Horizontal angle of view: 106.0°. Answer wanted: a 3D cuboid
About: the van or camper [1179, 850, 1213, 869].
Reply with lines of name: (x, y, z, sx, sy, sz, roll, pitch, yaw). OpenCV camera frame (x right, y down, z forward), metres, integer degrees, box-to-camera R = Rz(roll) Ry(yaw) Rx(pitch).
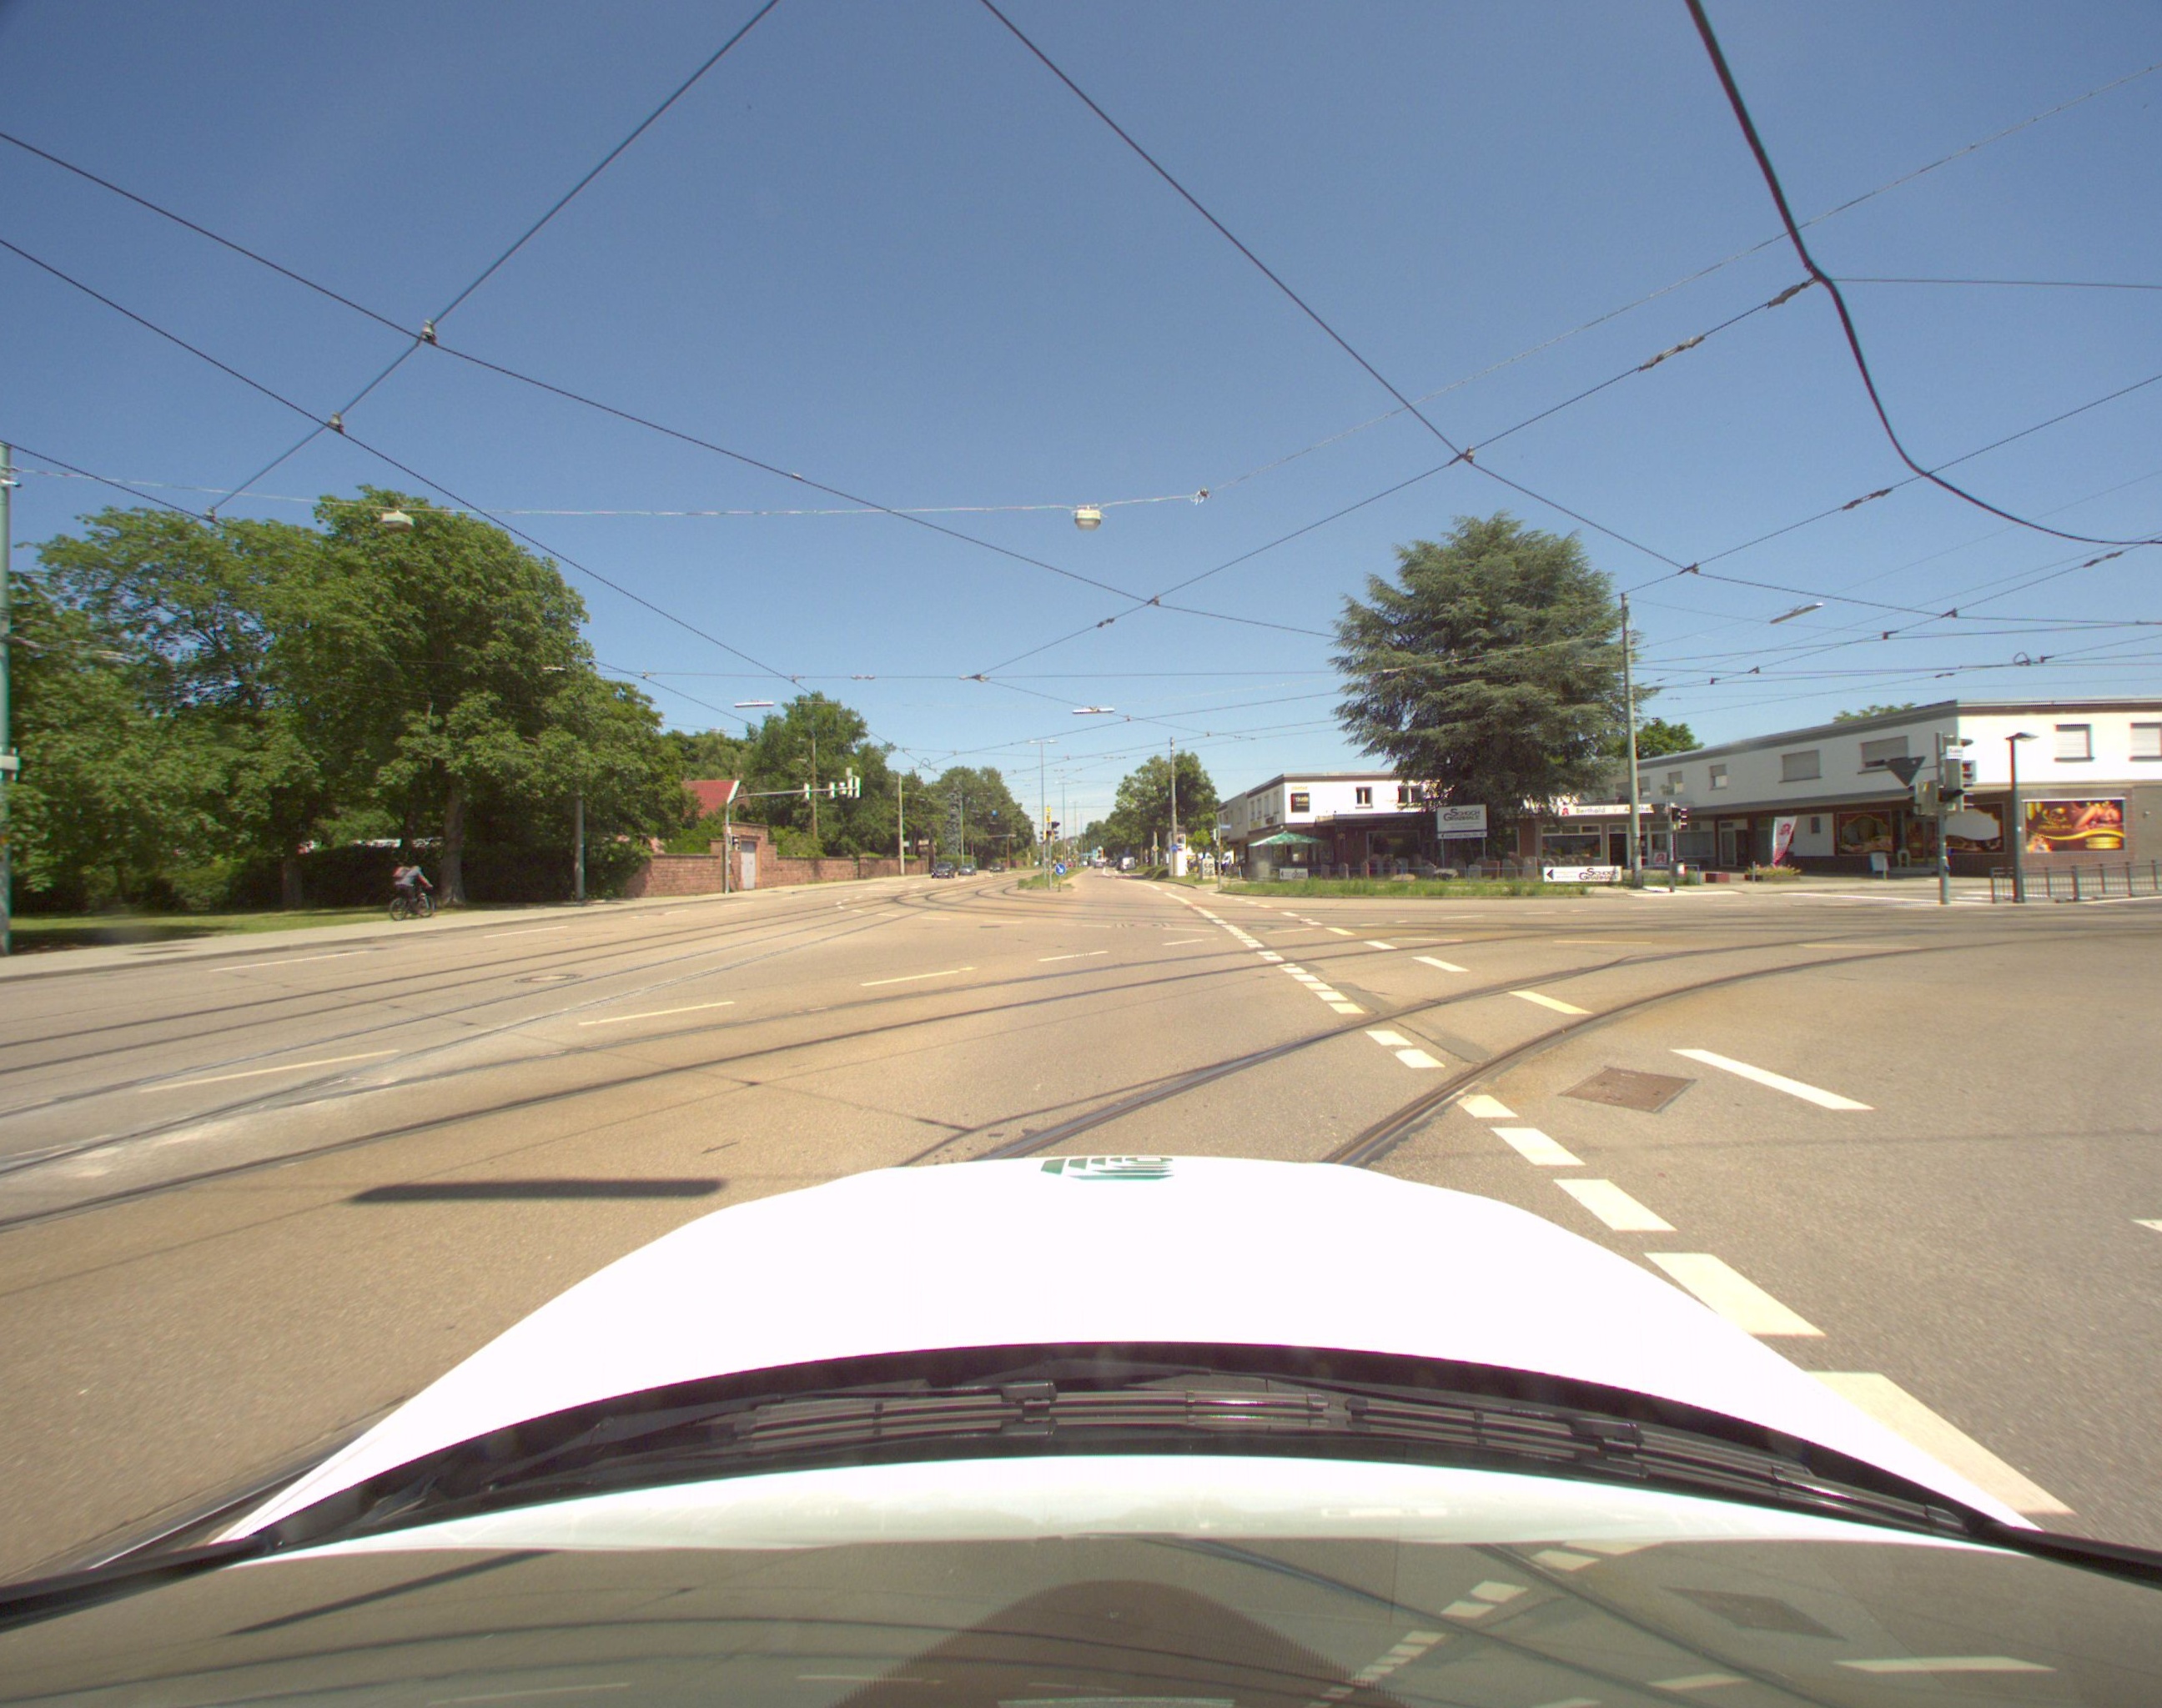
van or camper: (16.978, 0.802, 120.769, 4.741, 2.671, 2.135, -1, -1, -1)

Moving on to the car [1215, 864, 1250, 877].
car: (17.056, 1.871, 91.840, 3.601, 1.351, 1.488, -1, -1, -5)

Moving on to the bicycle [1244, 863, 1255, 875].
bicycle: (15.593, 1.371, 75.465, 0.505, 1.065, 1.863, -1, -1, -2)

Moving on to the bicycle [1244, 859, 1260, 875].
bicycle: (12.923, 0.968, 61.580, 0.983, 1.164, 2.643, -1, -1, 9)

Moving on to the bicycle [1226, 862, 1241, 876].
bicycle: (11.632, 1.110, 62.200, 1.028, 1.014, 2.643, -1, -1, 9)

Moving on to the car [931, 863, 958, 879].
car: (-14.062, 1.756, 84.027, 1.812, 1.603, 4.523, -1, -1, 3)

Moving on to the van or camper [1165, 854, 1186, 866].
van or camper: (16.917, 1.104, 145.250, 3.546, 2.145, 1.602, -1, -1, -1)

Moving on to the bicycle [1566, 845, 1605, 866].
bicycle: (29.584, 0.073, 47.796, 1.858, 1.192, 0.600, 0, -2, 12)

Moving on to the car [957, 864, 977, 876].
car: (-13.741, 1.936, 98.321, 1.634, 1.421, 4.172, -1, -1, 4)

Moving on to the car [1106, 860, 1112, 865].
car: (8.360, 2.568, 243.102, 1.519, 1.296, 3.491, -1, 0, -1)

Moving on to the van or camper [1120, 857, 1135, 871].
van or camper: (6.132, 1.325, 107.972, 1.915, 1.772, 4.002, -1, -1, 2)

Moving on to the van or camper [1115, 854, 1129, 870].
van or camper: (6.584, 1.236, 130.232, 1.988, 2.464, 3.998, -1, -1, -1)

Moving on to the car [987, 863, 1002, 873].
car: (-12.939, 2.104, 122.106, 1.635, 1.399, 4.116, 0, 0, 1)

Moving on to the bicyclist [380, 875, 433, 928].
bicyclist: (-20.086, 1.397, 24.271, 0.847, 1.531, 0.845, -1, -1, 1)

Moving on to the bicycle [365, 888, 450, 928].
bicycle: (-20.052, 1.589, 24.316, 0.712, 1.041, 2.104, -1, -1, 2)

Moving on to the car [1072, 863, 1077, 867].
car: (-1.900, 3.168, 235.781, 1.487, 1.046, 3.580, -1, -1, 1)

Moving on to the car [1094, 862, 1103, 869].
car: (3.295, 2.126, 153.357, 1.632, 1.351, 3.840, -1, -1, -1)
